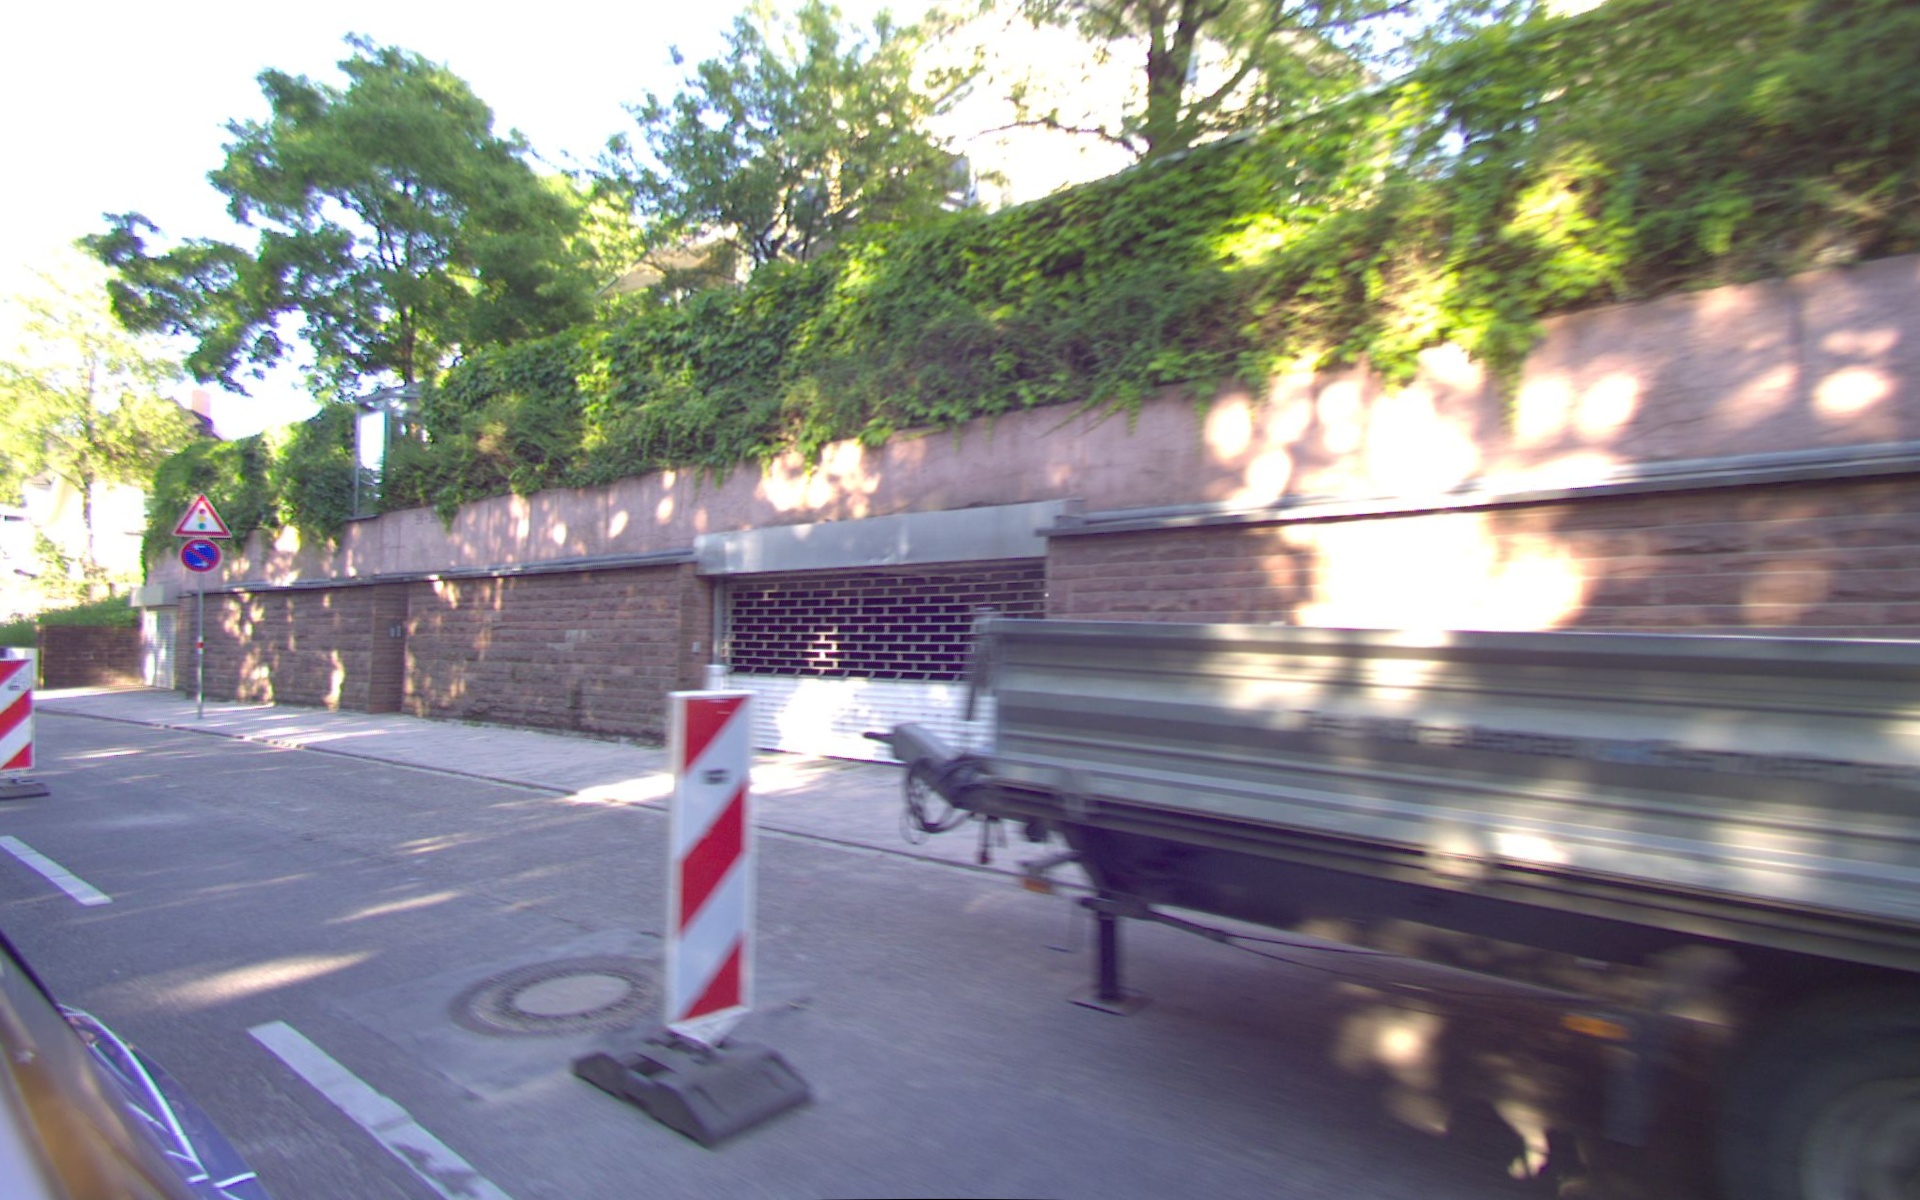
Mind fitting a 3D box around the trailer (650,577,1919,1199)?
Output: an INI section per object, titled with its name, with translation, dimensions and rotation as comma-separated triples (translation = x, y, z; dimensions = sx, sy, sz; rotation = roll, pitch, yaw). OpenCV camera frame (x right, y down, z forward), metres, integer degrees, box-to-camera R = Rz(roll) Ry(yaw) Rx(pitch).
[trailer]
translation = 2.211, 0.737, 3.034
dimensions = 7.113, 1.501, 2.613
rotation = -2, -2, 40
